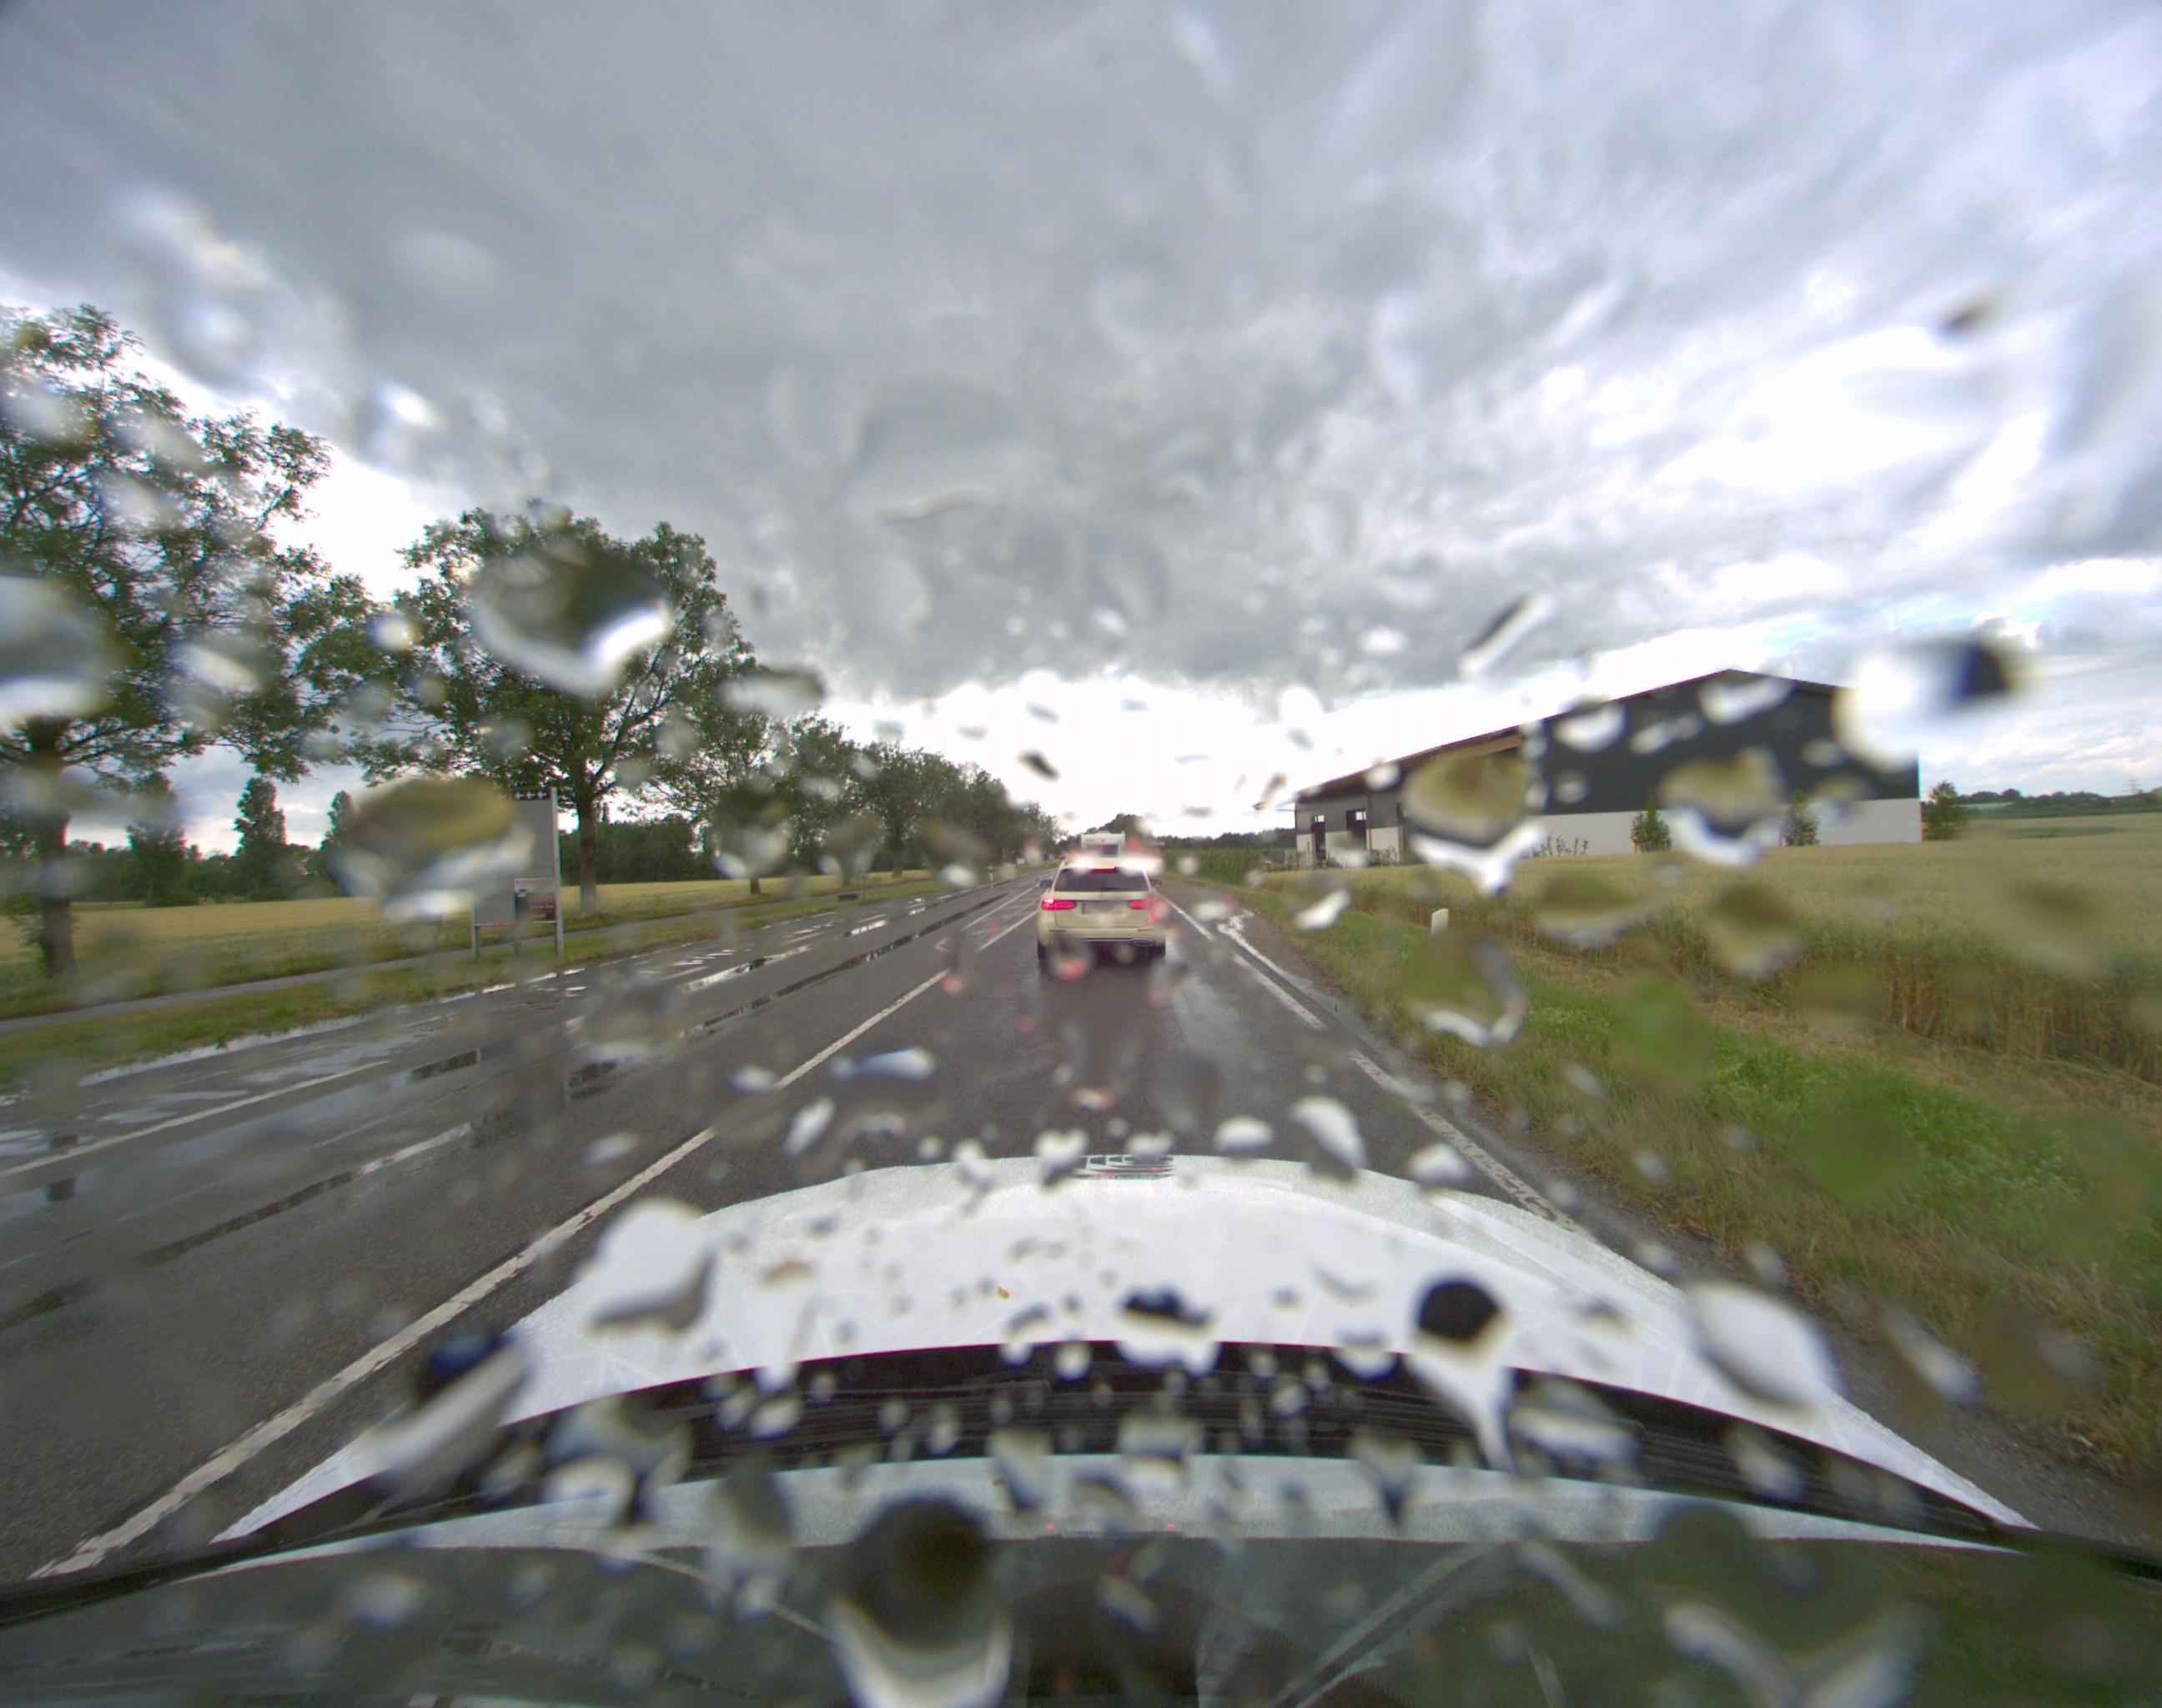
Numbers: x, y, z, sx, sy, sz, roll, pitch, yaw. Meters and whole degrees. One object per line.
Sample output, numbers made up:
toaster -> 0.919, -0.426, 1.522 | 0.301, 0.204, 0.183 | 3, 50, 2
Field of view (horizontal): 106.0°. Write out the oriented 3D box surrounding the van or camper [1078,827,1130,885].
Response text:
van or camper -> 1.308, 0.115, 44.134 | 2.487, 2.831, 5.937 | -3, 0, 2

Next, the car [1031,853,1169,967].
car -> 0.321, 0.736, 12.735 | 1.790, 1.464, 4.033 | -1, 0, 2

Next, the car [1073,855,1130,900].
car -> 0.732, 0.795, 29.232 | 1.888, 1.429, 3.928 | -1, 0, 1

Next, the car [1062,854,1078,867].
car -> -1.556, 0.856, 114.414 | 1.909, 1.632, 4.358 | -3, 0, 1
